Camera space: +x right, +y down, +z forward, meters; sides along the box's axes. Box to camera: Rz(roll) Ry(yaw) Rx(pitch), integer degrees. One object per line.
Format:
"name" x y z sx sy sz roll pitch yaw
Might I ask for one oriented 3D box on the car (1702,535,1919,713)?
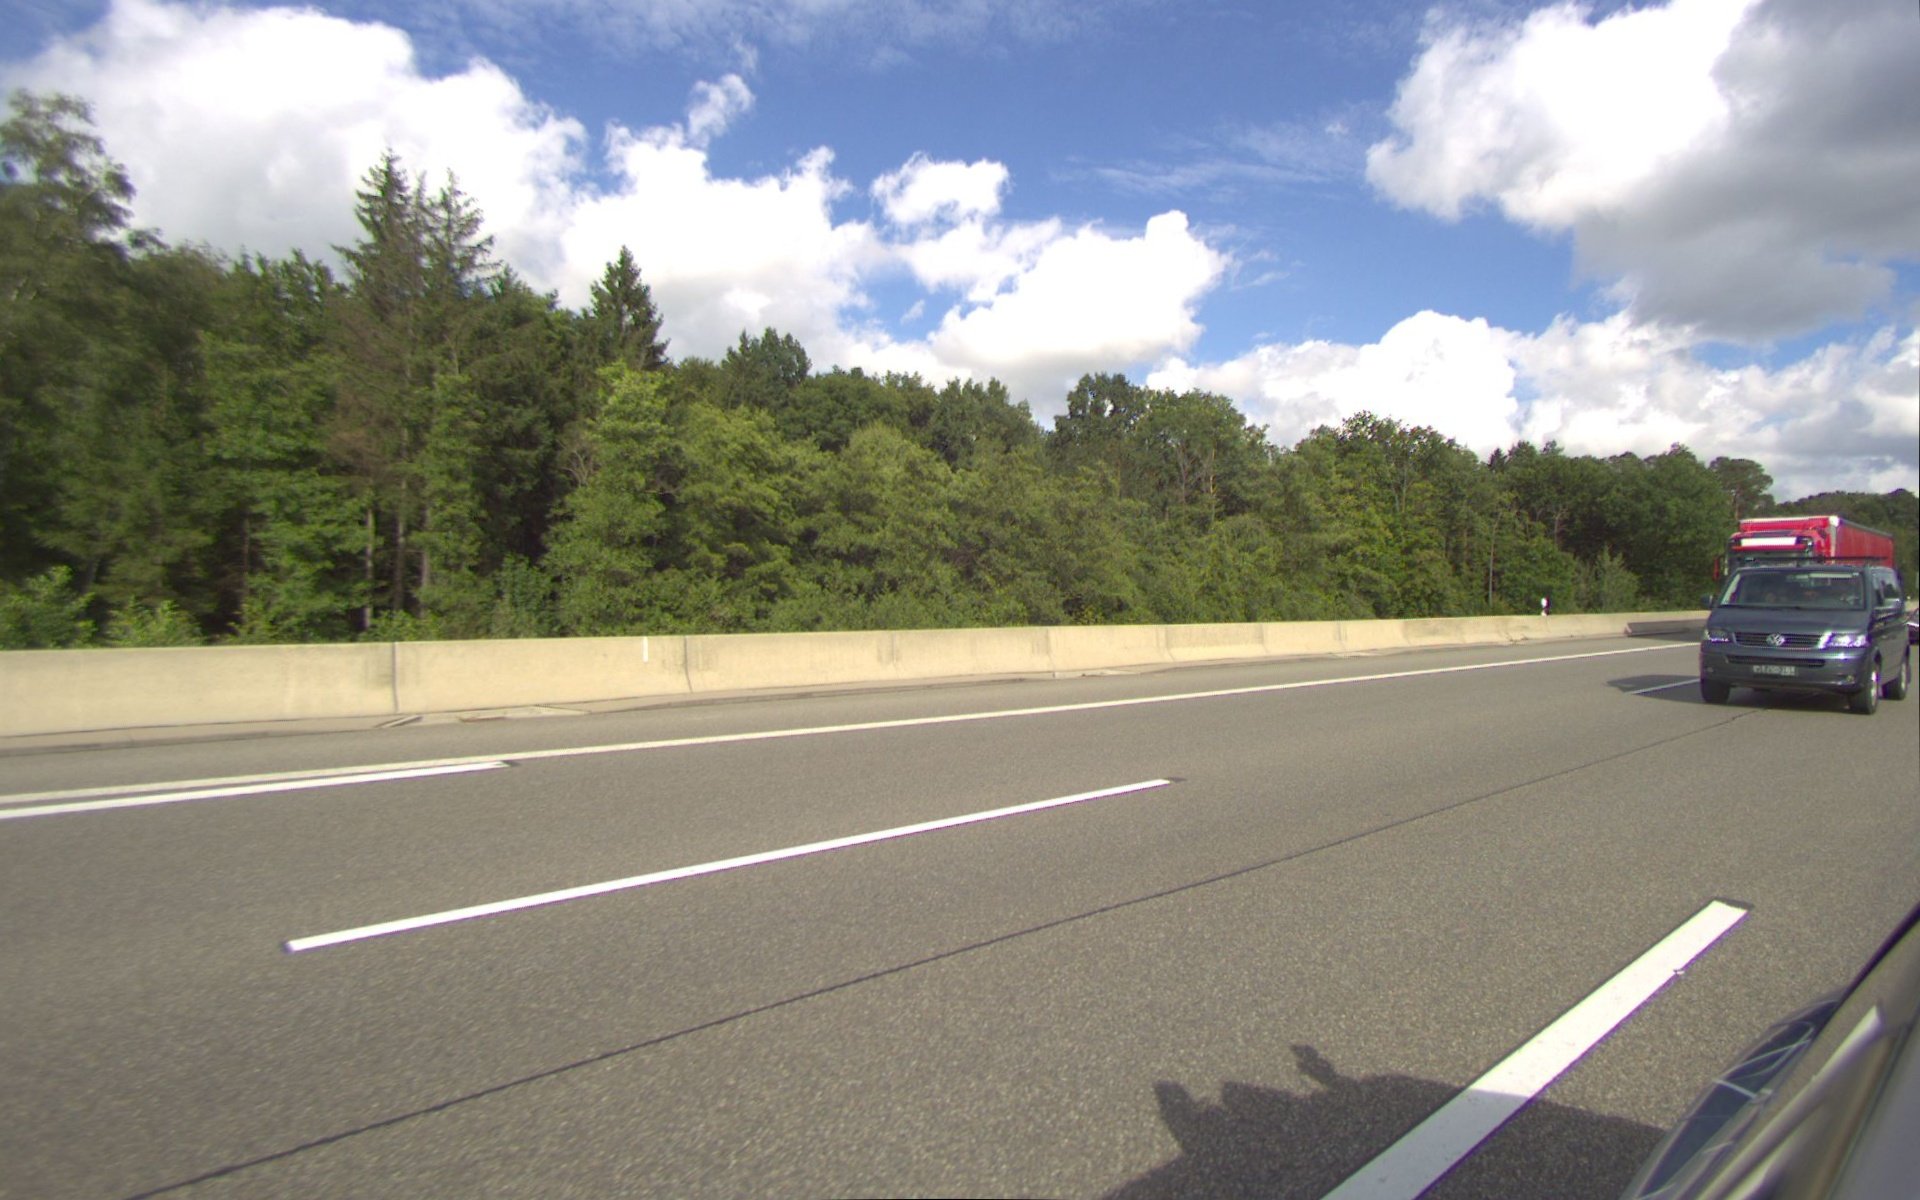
"car" 12.636 0.281 14.794 4.875 2.193 1.925 0 1 -42

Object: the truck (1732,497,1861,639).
"truck" 27.150 -1.010 32.809 4.572 4.255 2.530 0 1 -41

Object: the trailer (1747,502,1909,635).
"trailer" 32.295 -1.060 37.313 14.127 4.171 2.529 -1 1 -41

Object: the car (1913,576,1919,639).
"car" 33.115 0.204 33.338 3.929 2.039 1.997 -1 -1 -40
